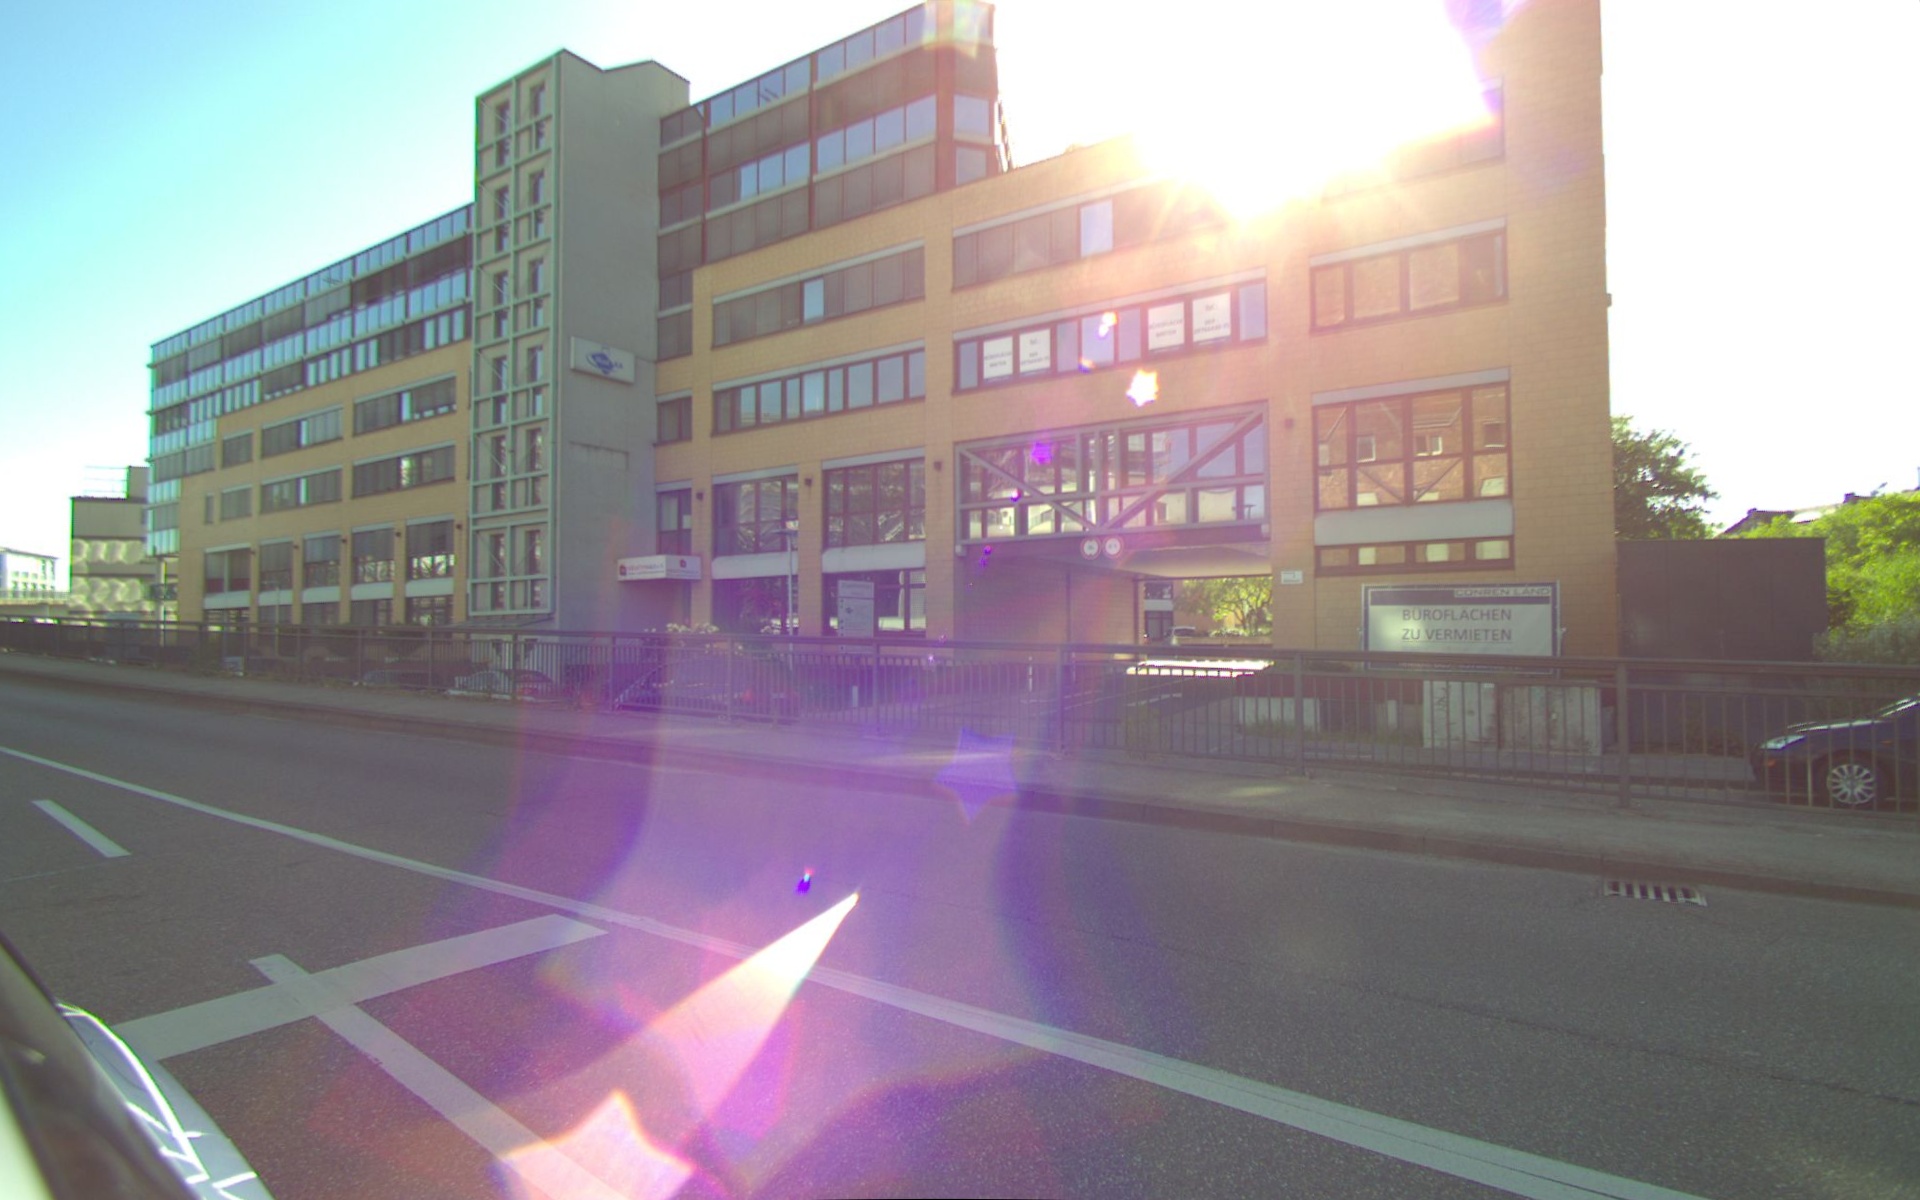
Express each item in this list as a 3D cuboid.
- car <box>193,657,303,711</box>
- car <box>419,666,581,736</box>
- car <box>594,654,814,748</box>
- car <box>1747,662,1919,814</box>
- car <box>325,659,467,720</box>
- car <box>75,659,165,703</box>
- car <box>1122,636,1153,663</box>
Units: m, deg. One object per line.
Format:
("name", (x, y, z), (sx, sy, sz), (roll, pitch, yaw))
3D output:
("car", (-24.761, 2.856, 35.178), (3.993, 1.737, 1.975), (-2, -4, 37))
("car", (-11.888, 2.534, 26.085), (4.345, 1.616, 1.805), (-2, -4, 34))
("car", (-5.555, 2.074, 21.757), (4.673, 1.771, 1.935), (-2, -2, 33))
("car", (10.995, 1.408, 10.439), (4.443, 1.515, 1.803), (-3, -4, 37))
("car", (-16.362, 2.540, 29.298), (4.345, 1.616, 1.805), (-2, -4, 34))
("car", (-34.716, 3.293, 41.797), (3.993, 1.675, 1.975), (-2, -4, 37))
("car", (10.947, 3.034, 62.519), (1.623, 1.586, 3.147), (-1, -3, 6))
